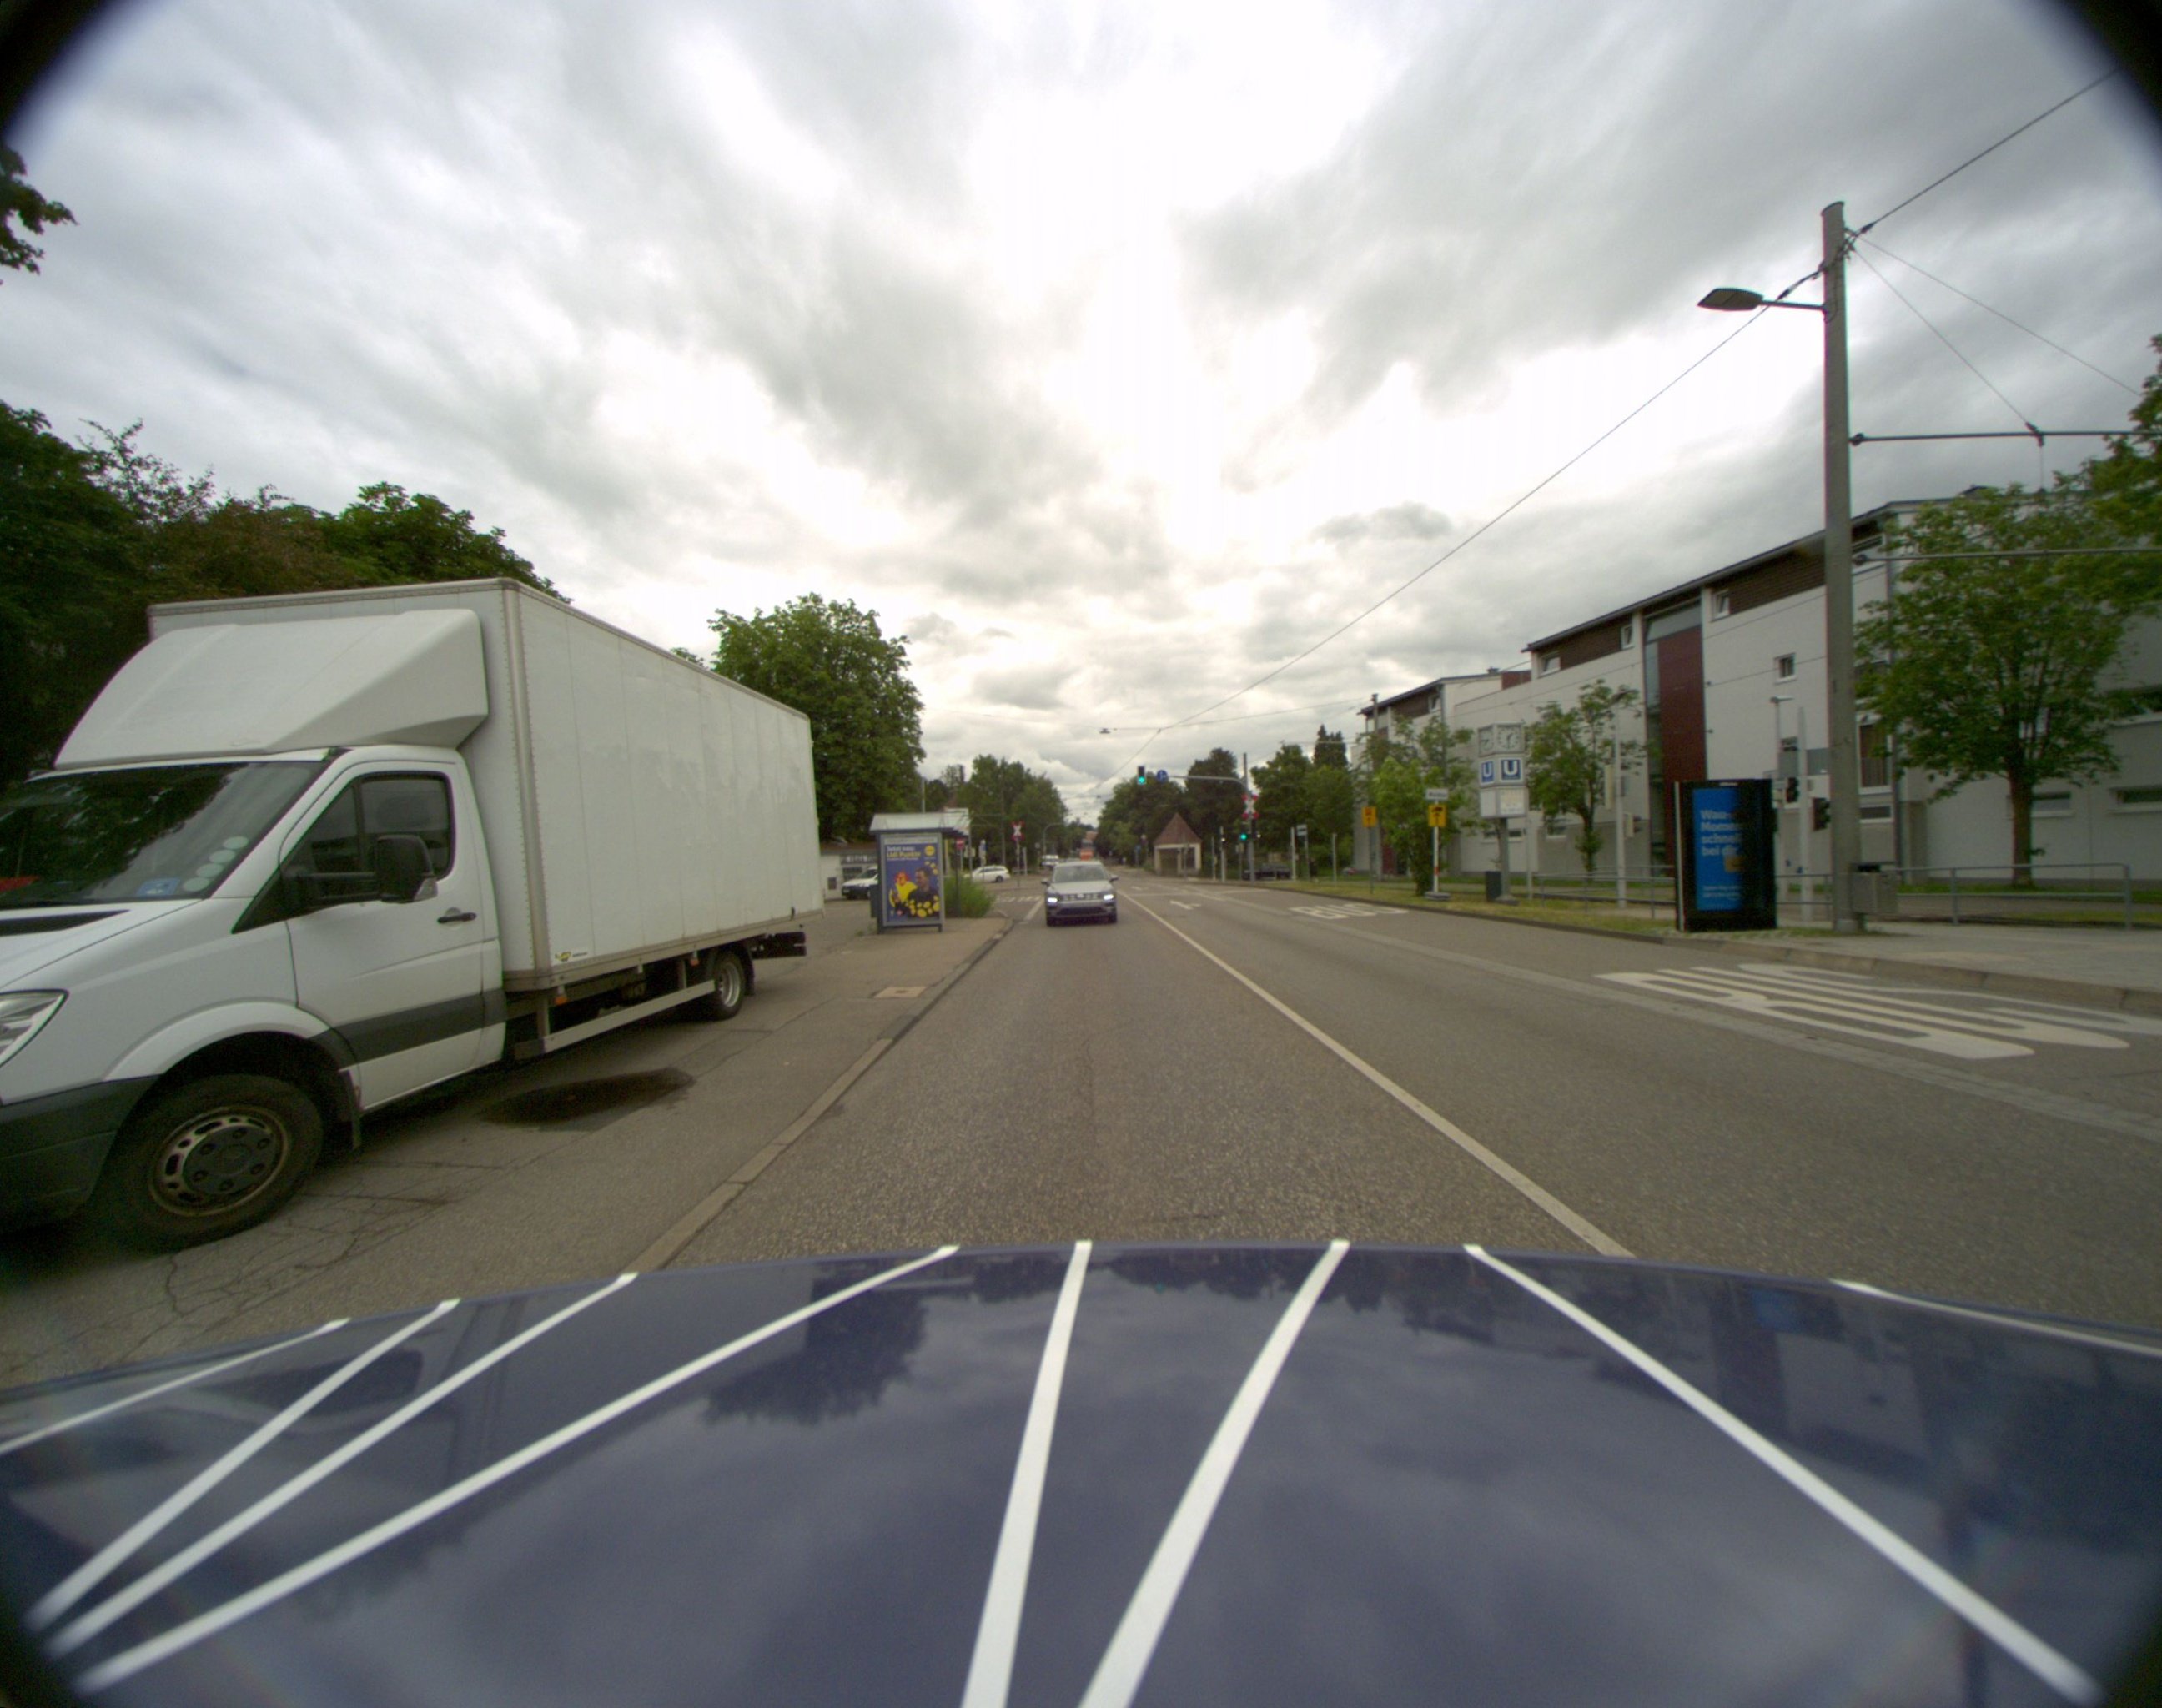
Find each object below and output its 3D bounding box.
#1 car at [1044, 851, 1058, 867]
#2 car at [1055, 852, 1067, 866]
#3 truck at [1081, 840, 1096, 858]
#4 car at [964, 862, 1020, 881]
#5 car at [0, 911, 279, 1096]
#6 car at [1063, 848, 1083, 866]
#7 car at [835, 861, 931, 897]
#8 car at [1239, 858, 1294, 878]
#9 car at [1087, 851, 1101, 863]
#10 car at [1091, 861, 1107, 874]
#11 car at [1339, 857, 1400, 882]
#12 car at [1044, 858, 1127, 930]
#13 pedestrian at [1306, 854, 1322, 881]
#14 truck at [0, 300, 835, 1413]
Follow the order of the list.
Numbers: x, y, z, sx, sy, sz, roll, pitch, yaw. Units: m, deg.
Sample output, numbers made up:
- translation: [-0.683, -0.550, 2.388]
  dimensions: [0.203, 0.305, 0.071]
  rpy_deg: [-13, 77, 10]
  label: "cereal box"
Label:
- translation: [-5.074, 0.760, 127.839]
  dimensions: [2.095, 2.589, 6.679]
  rpy_deg: [-1, 0, -3]
  label: "car"
- translation: [-3.743, 0.988, 144.082]
  dimensions: [2.046, 2.588, 5.966]
  rpy_deg: [-1, 0, -1]
  label: "car"
- translation: [1.608, -1.034, 164.886]
  dimensions: [2.776, 3.697, 8.467]
  rpy_deg: [0, 0, -2]
  label: "truck"
- translation: [-8.115, 1.544, 69.350]
  dimensions: [4.662, 1.527, 1.912]
  rpy_deg: [-2, 0, -26]
  label: "car"
- translation: [-10.171, 1.392, 6.810]
  dimensions: [3.734, 1.436, 1.605]
  rpy_deg: [-3, -1, -27]
  label: "car"
- translation: [-0.811, 0.326, 76.011]
  dimensions: [1.811, 1.736, 3.999]
  rpy_deg: [-2, 0, -3]
  label: "car"
- translation: [-10.382, 1.285, 40.170]
  dimensions: [1.846, 1.738, 4.705]
  rpy_deg: [-2, -1, 37]
  label: "car"
- translation: [16.965, 1.291, 69.608]
  dimensions: [4.488, 1.660, 1.964]
  rpy_deg: [1, 0, -8]
  label: "car"
- translation: [1.933, 0.418, 115.615]
  dimensions: [1.835, 1.660, 4.487]
  rpy_deg: [-5, 0, -1]
  label: "car"
- translation: [2.175, 1.652, 93.749]
  dimensions: [1.744, 1.550, 4.183]
  rpy_deg: [-1, 0, -1]
  label: "car"
- translation: [24.745, 1.344, 65.278]
  dimensions: [4.469, 2.002, 1.999]
  rpy_deg: [2, 0, -7]
  label: "car"
- translation: [0.002, 0.990, 20.837]
  dimensions: [1.835, 1.610, 4.486]
  rpy_deg: [-4, 0, -4]
  label: "car"
- translation: [14.682, 0.848, 47.873]
  dimensions: [0.677, 1.634, 0.819]
  rpy_deg: [-1, -2, -6]
  label: "pedestrian"
- translation: [-4.619, 0.035, 5.966]
  dimensions: [2.579, 3.504, 7.811]
  rpy_deg: [-2, 0, 1]
  label: "truck"
